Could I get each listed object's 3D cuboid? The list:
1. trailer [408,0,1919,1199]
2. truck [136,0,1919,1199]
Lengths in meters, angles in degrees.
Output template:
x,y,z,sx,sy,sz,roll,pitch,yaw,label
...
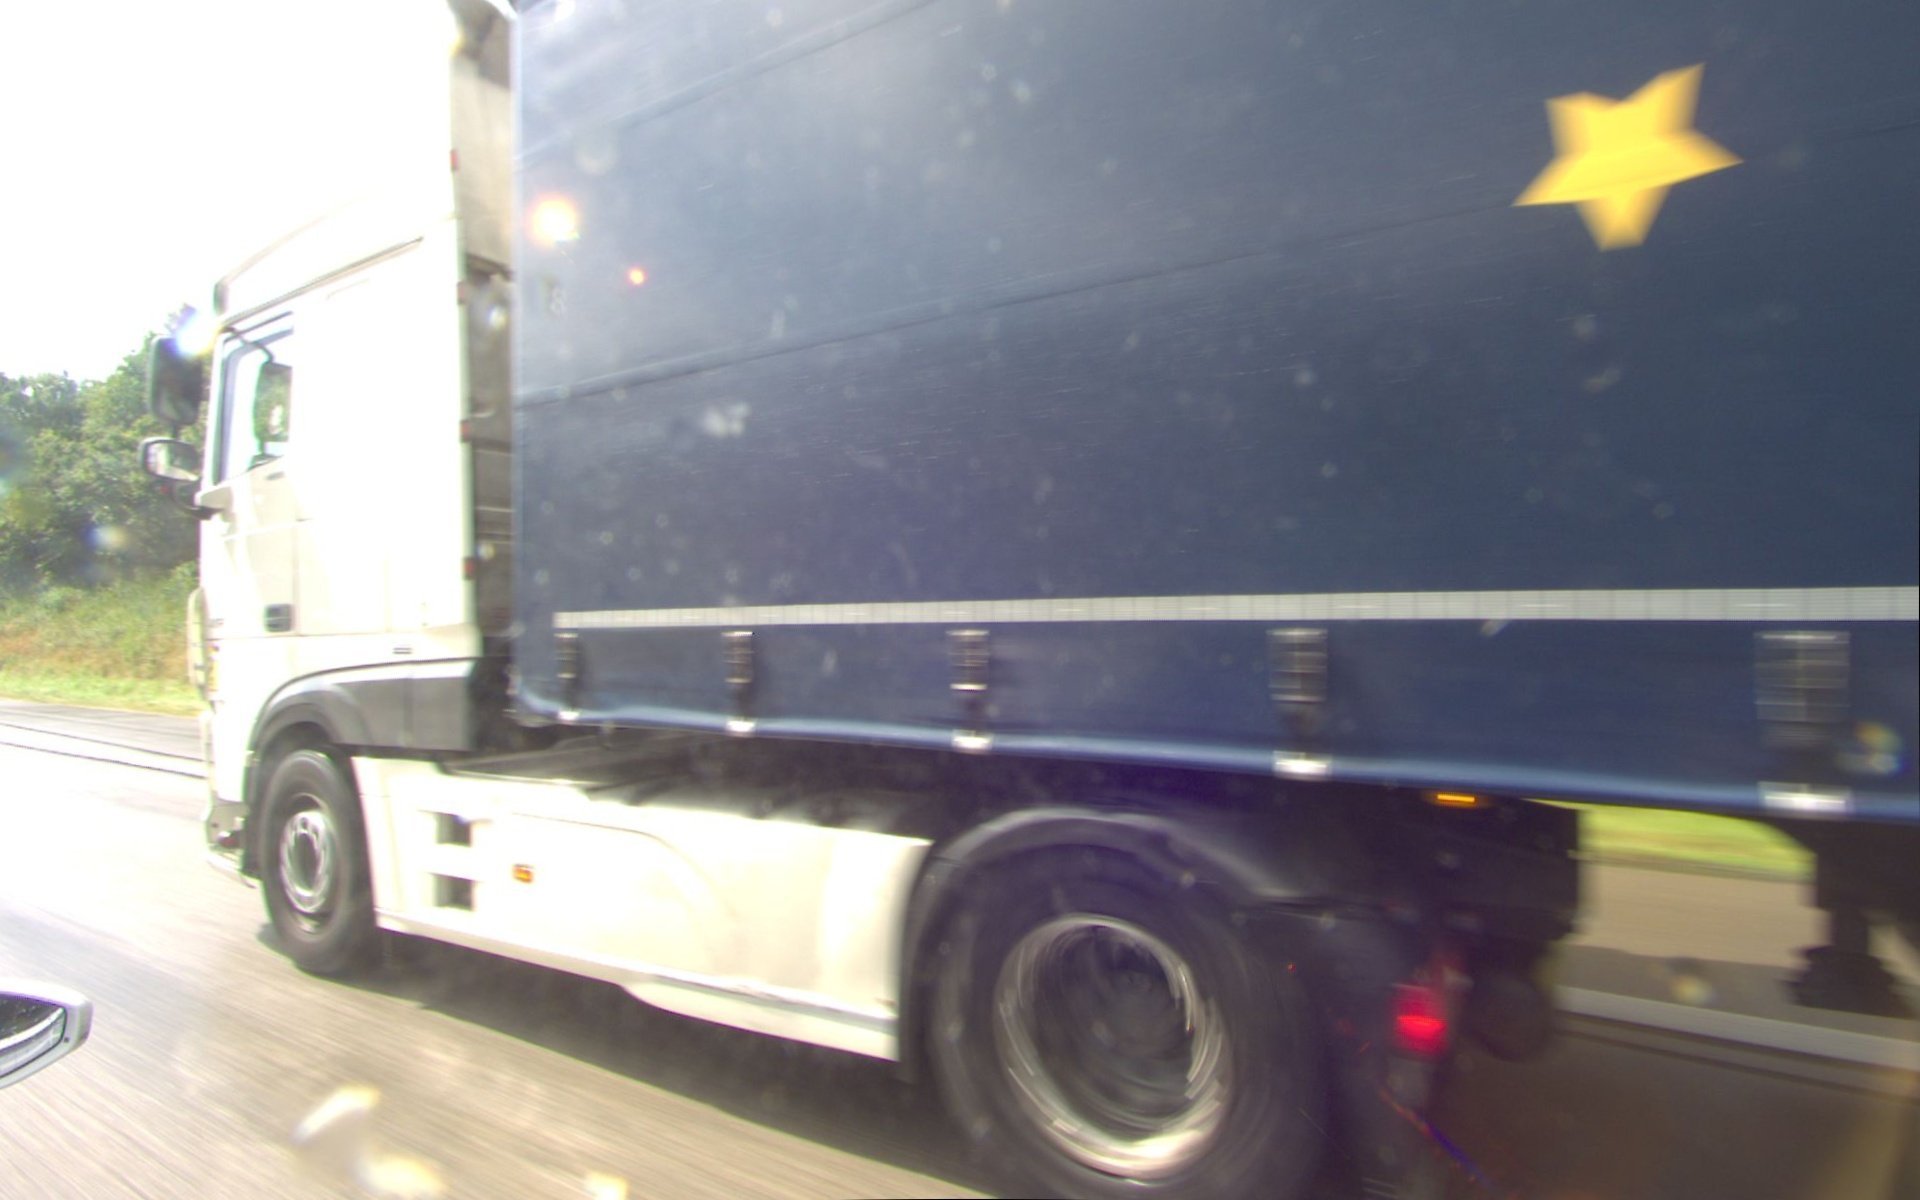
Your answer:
x,y,z,sx,sy,sz,roll,pitch,yaw,label
4.533,-0.547,0.998,13.865,4.047,2.629,-1,-2,33,trailer
-0.489,-0.442,4.222,7.189,4.047,2.601,-1,-1,33,truck
